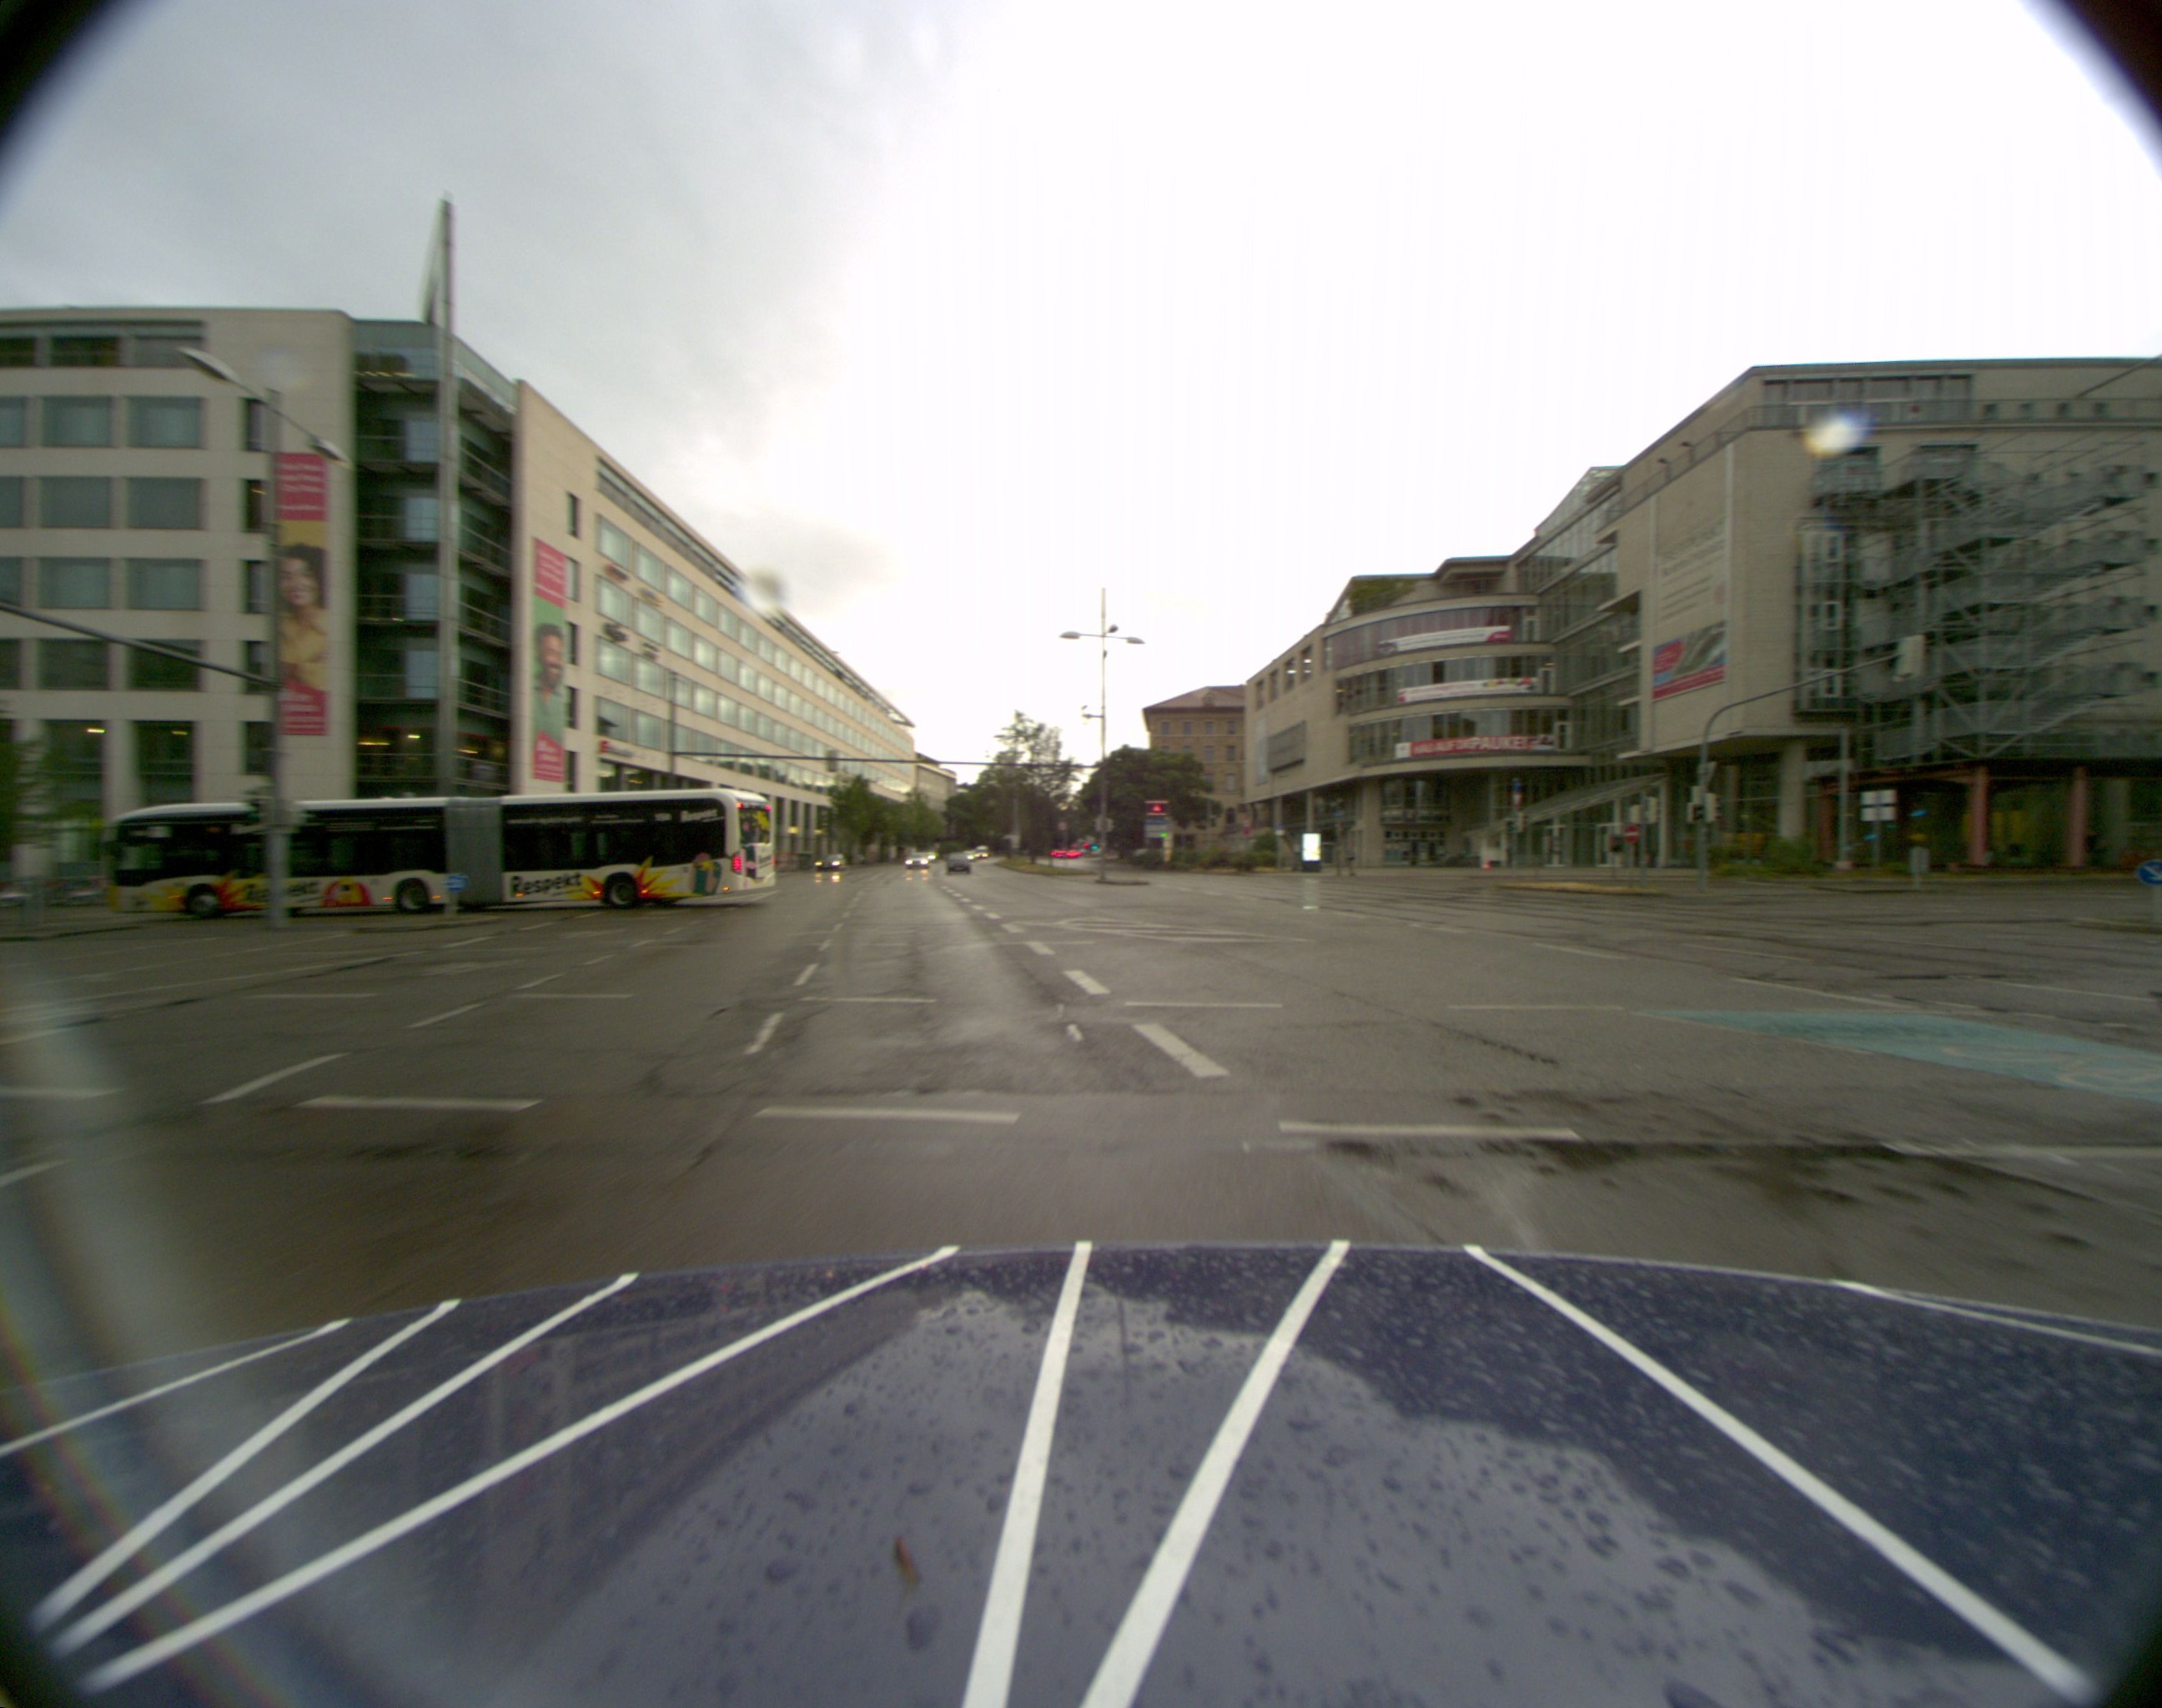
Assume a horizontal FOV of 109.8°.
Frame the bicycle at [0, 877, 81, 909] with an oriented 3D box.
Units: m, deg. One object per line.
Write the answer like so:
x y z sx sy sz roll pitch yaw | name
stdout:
-41.046 1.516 29.779 0.489 1.092 2.348 -1 1 2 | bicycle

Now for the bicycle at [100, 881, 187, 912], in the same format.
-37.752 1.687 30.639 0.489 1.092 2.348 -1 1 2 | bicycle

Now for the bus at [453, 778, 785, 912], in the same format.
-13.358 -0.248 22.418 8.081 3.568 2.687 -1 1 2 | bus

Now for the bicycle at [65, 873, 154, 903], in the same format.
-39.360 1.367 30.827 0.489 1.092 2.348 -1 1 2 | bicycle

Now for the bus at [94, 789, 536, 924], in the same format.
-22.311 0.069 22.518 10.314 3.568 2.686 -1 1 0 | bus

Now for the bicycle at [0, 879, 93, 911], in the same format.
-40.530 1.584 29.761 0.489 1.092 2.348 0 1 2 | bicycle

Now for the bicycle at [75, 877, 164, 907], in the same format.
-38.728 1.512 30.653 0.489 1.092 2.348 -1 1 2 | bicycle

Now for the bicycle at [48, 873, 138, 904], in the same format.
-39.960 1.380 30.790 0.489 1.092 2.348 -1 1 2 | bicycle

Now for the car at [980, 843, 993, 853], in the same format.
-18.964 -1.269 153.041 1.998 2.002 4.000 0 0 1 | car

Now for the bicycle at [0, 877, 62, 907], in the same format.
-42.033 1.486 29.948 0.489 1.092 2.348 -1 1 2 | bicycle

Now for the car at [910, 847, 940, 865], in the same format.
-13.844 0.115 67.645 1.979 1.543 4.668 0 1 -5 | car

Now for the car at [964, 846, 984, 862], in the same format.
-14.959 -0.026 106.311 1.979 2.117 5.105 0 1 0 | car

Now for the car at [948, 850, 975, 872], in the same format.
-8.224 0.480 52.264 1.725 1.424 3.996 -1 1 -10 | car
